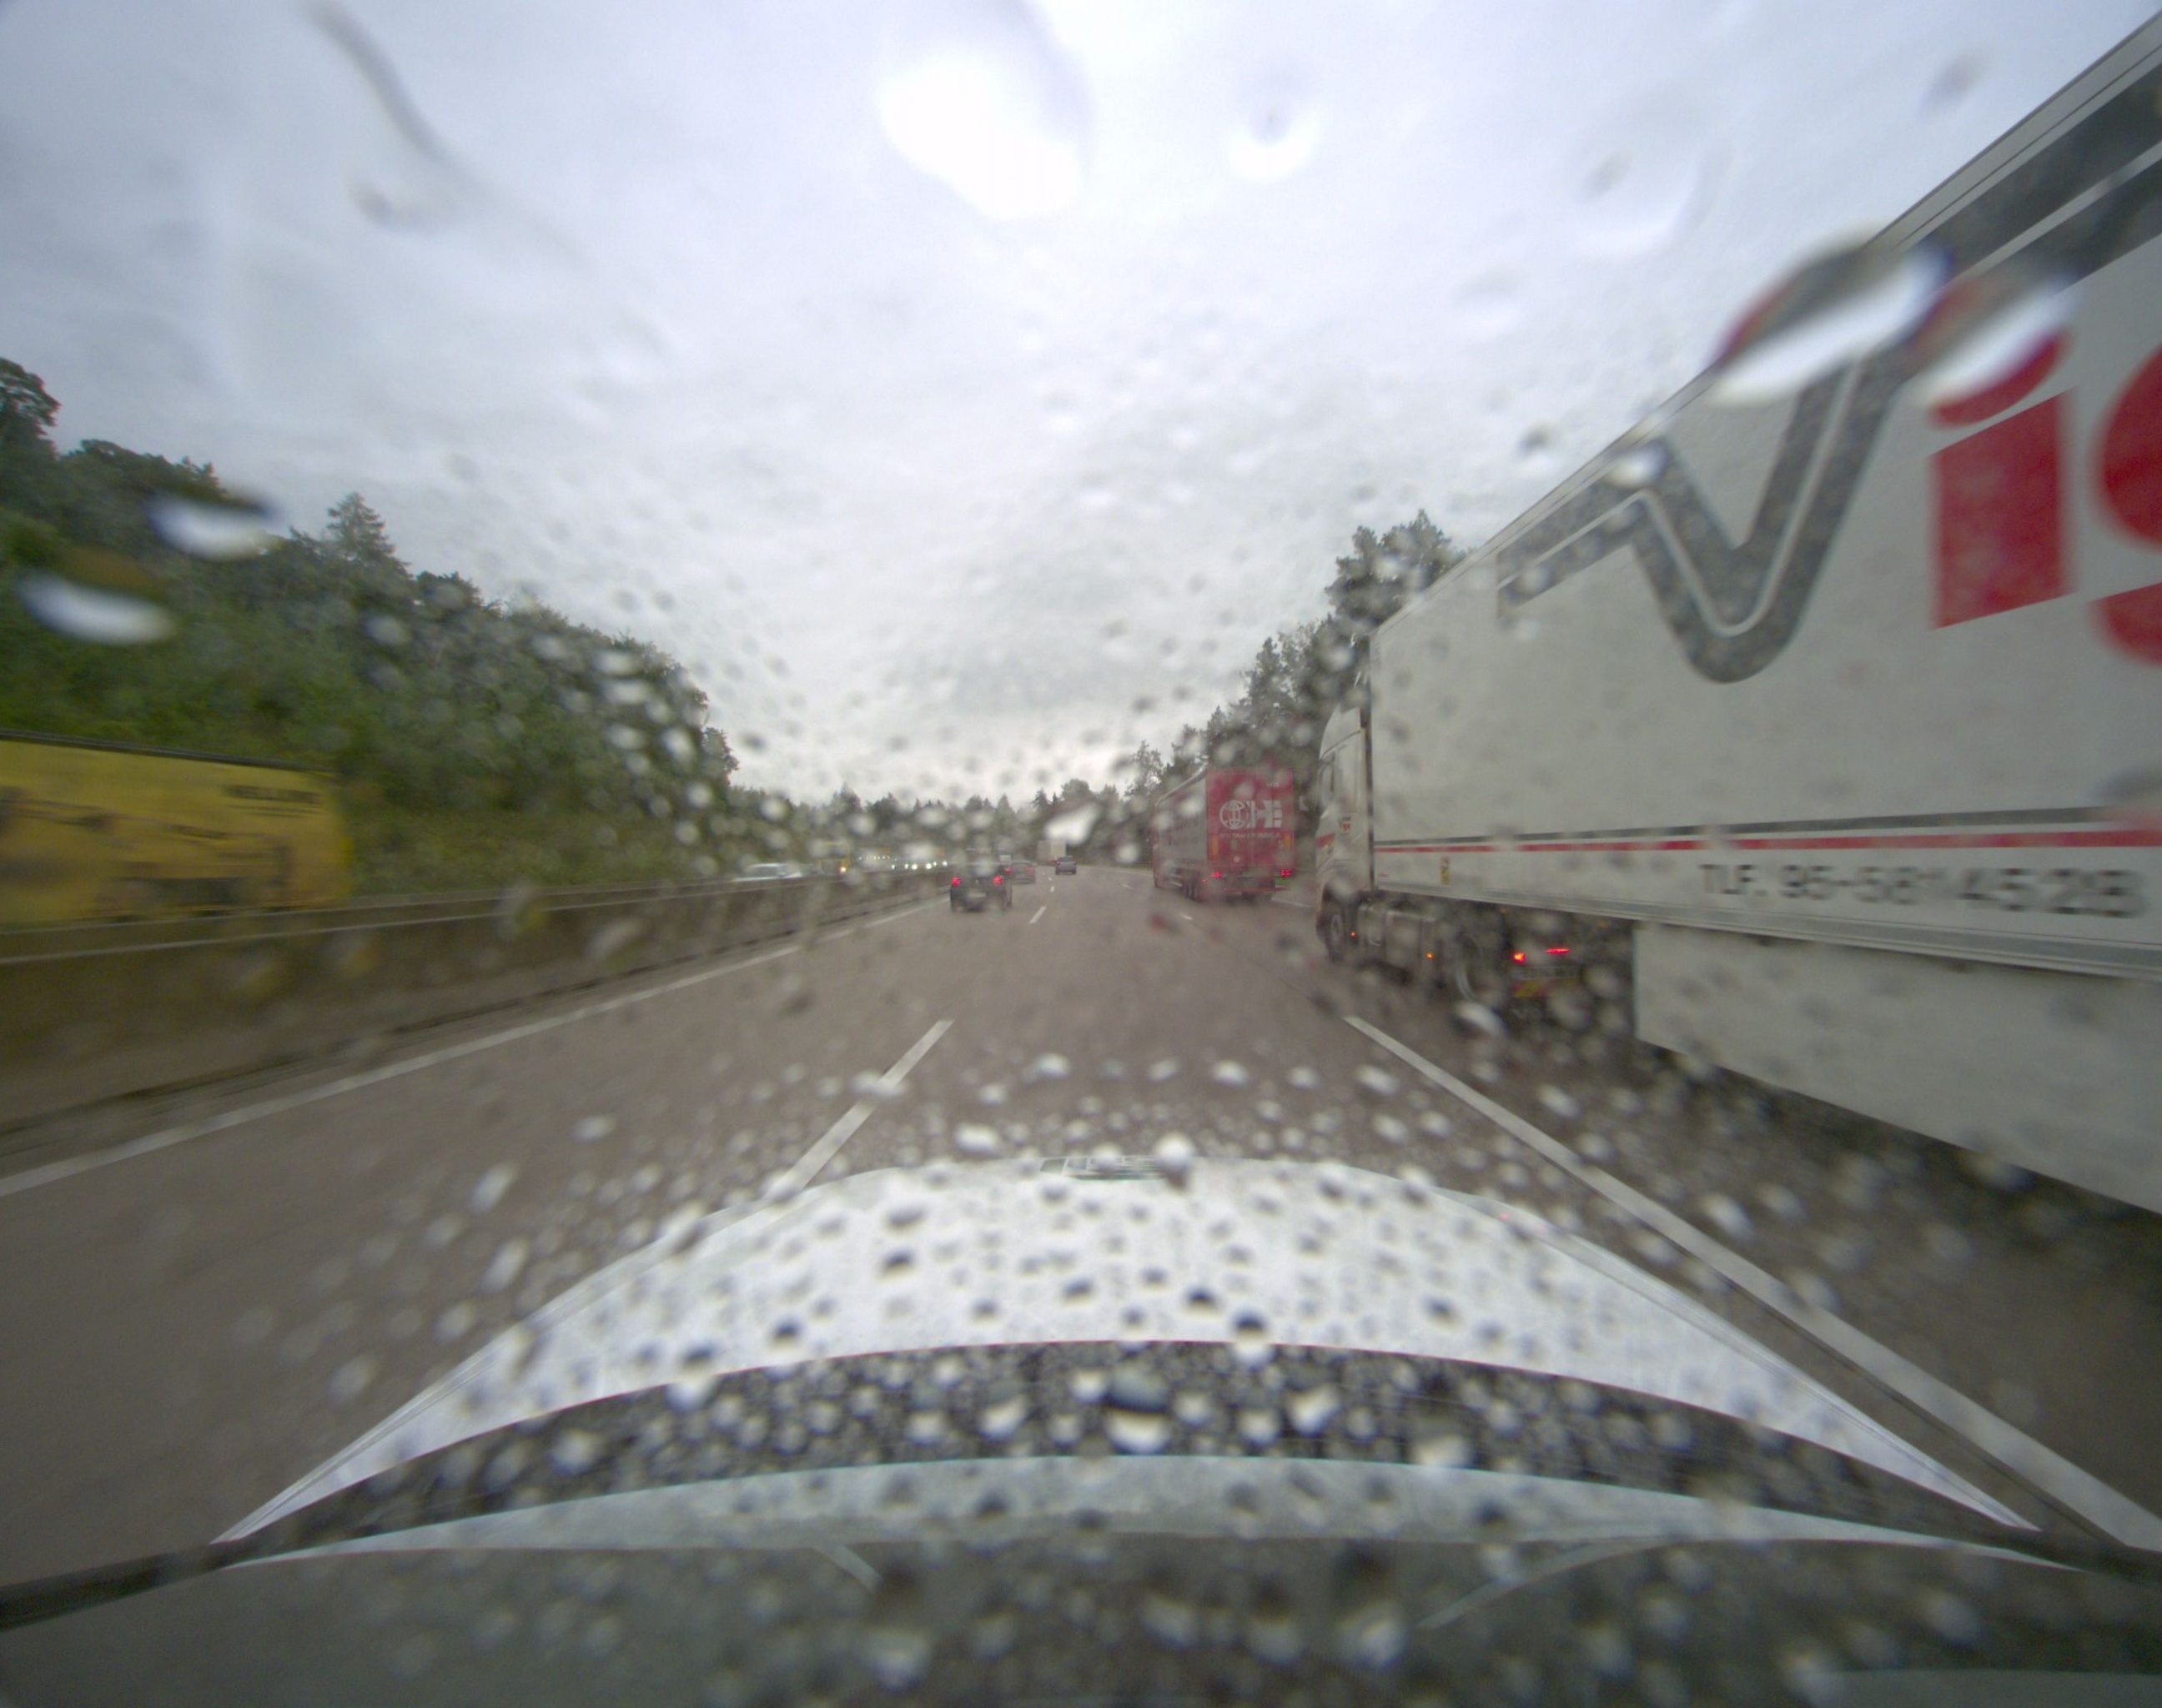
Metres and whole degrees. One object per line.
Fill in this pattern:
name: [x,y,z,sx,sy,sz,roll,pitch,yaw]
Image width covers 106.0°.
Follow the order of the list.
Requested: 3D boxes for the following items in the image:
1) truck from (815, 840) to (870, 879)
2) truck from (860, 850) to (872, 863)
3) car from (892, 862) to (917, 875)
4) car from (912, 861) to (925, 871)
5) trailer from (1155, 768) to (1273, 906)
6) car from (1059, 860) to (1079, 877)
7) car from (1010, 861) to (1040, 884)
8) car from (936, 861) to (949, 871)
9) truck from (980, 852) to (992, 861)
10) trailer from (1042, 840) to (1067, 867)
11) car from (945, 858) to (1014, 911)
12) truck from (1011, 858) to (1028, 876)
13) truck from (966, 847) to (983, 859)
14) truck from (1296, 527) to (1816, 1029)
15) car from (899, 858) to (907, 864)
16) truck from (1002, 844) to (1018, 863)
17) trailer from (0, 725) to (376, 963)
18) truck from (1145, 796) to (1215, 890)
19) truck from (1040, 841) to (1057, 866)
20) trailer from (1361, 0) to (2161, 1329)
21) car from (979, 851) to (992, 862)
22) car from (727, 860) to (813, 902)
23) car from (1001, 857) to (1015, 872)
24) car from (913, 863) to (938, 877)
truck: [-21.718,0.483,74.711,2.616,3.296,9.372,-1,0,-3]
truck: [-66.275,0.860,251.014,2.929,3.960,8.084,-1,0,-12]
car: [-19.021,1.533,88.143,1.800,1.346,4.762,-1,0,-2]
car: [-24.009,1.739,120.625,1.652,1.346,4.074,-1,0,-8]
trailer: [4.417,-0.477,29.887,2.362,3.954,12.520,-1,0,0]
car: [-1.010,1.255,71.392,1.548,1.351,3.685,1,0,2]
car: [-3.419,1.110,49.939,1.549,1.351,3.683,1,0,0]
car: [-20.080,1.744,117.823,1.652,1.346,4.075,-1,0,-7]
truck: [-24.989,0.640,213.903,2.974,2.309,6.645,1,0,-9]
trailer: [-4.324,-0.123,130.651,2.419,4.068,12.017,0,0,-9]
car: [-3.050,0.891,25.047,1.679,1.462,3.682,1,0,-1]
truck: [-10.639,2.205,140.355,2.270,2.886,7.875,0,1,-10]
truck: [-25.994,-0.276,198.541,3.087,2.905,7.866,0,1,-14]
truck: [4.696,-0.625,9.705,2.788,4.104,5.969,-1,0,1]
car: [-47.039,1.844,215.155,1.810,1.684,3.984,-1,0,-12]
truck: [-16.060,-0.153,183.200,3.365,4.131,10.414,0,0,-6]
trailer: [-19.067,-0.143,13.317,3.004,3.875,13.701,-1,0,1]
truck: [4.420,-0.448,37.362,2.367,3.954,6.158,-1,0,0]
truck: [-5.514,-0.064,137.864,2.419,4.068,4.963,0,0,-9]
trailer: [4.579,-0.650,2.882,2.724,4.103,13.686,-1,0,1]
car: [-18.659,0.446,158.914,1.995,2.059,3.984,-1,0,-12]
car: [-12.143,1.013,32.101,1.648,1.479,4.544,-1,0,0]
car: [-10.254,1.463,114.541,1.722,2.013,3.652,-1,0,-4]
car: [-14.906,1.522,78.236,1.649,1.346,4.083,-1,0,-2]
